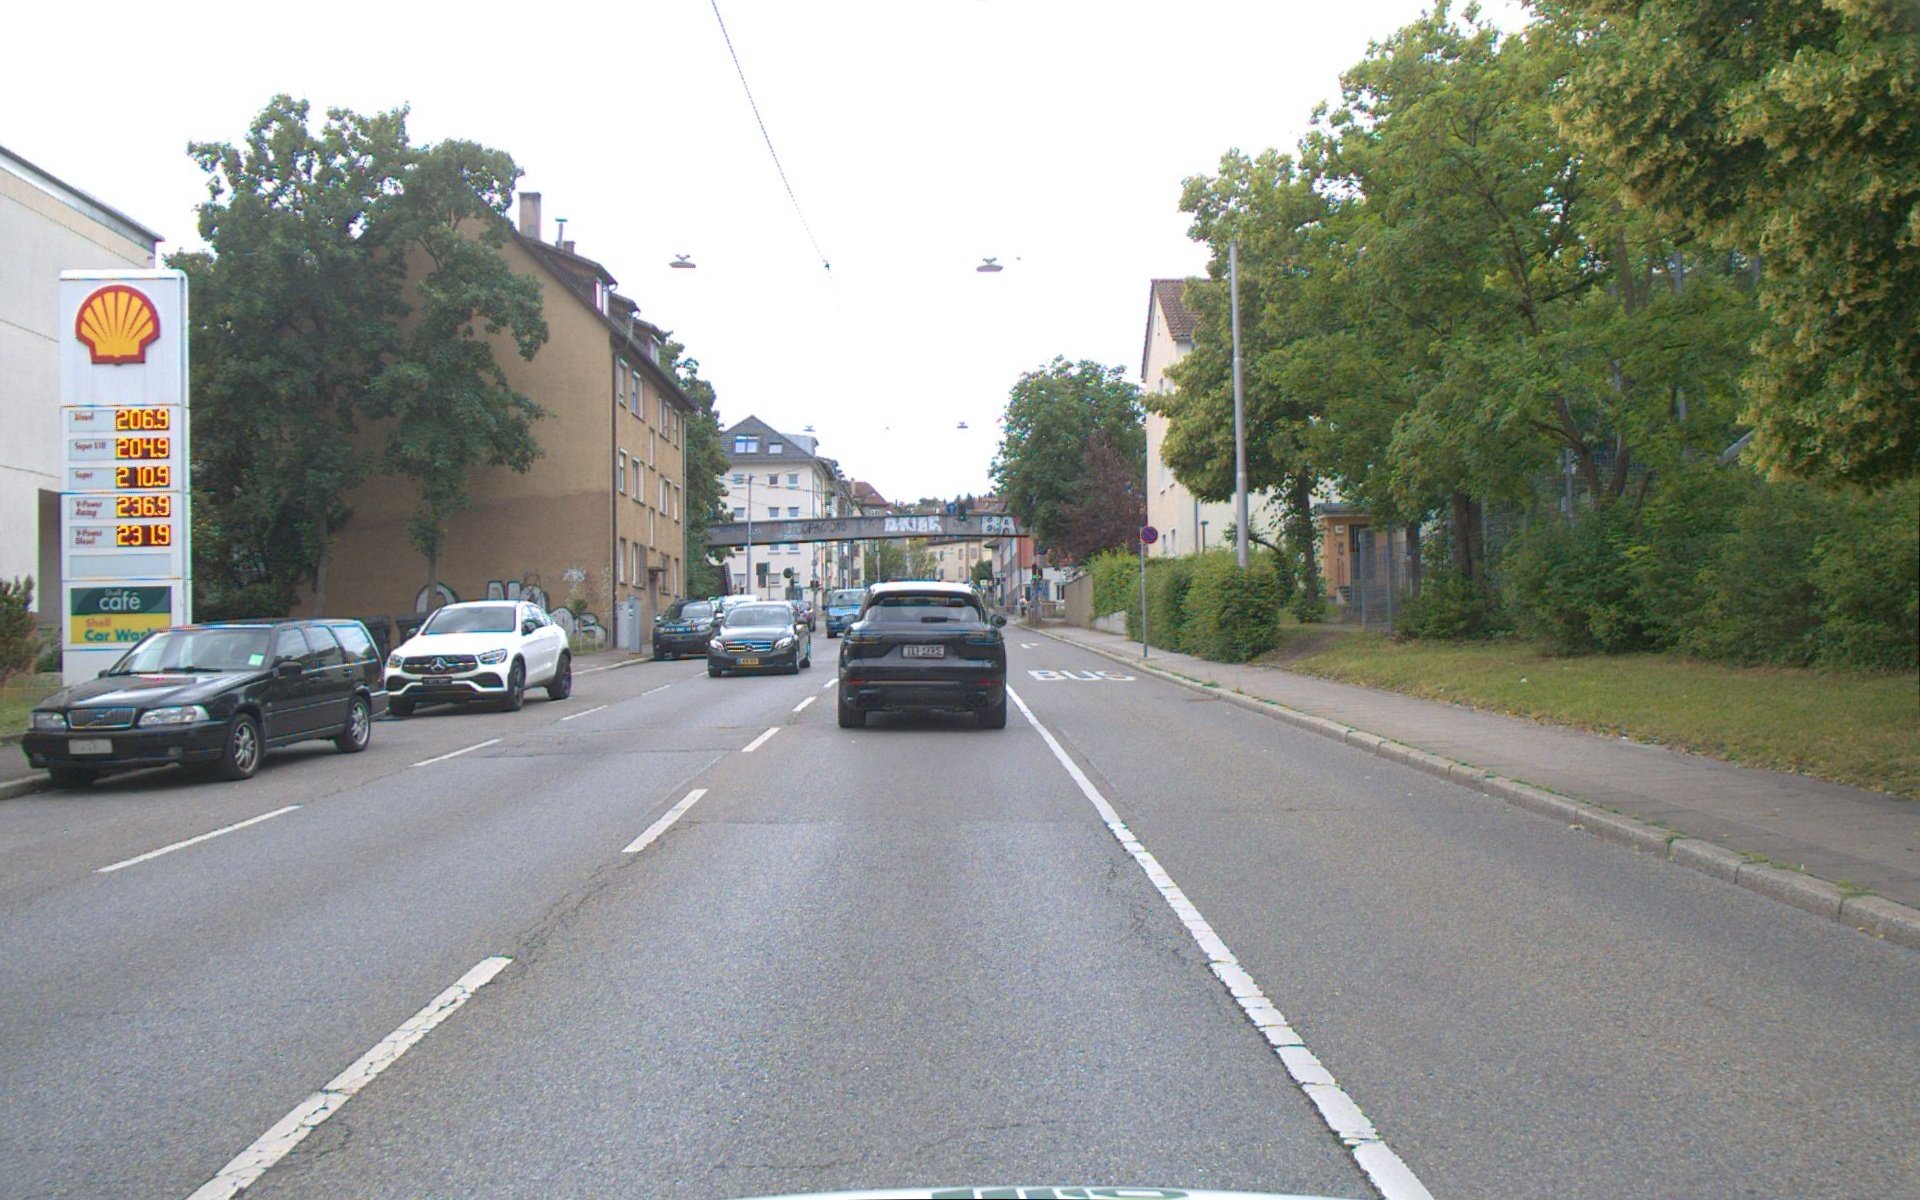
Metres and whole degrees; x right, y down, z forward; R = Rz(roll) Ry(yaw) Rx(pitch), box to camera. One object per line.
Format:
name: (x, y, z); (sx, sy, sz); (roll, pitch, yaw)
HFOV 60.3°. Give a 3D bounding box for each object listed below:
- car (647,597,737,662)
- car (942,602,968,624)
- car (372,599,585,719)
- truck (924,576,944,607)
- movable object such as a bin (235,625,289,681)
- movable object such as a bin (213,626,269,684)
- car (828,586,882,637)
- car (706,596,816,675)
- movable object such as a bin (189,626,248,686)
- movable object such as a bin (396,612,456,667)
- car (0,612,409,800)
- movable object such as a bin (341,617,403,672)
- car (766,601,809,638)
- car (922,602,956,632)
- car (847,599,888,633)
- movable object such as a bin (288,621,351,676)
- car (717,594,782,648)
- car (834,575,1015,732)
car: (-7.612, 0.802, 47.336); (1.746, 1.637, 4.264); (-3, 0, 0)
car: (-0.340, 0.855, 111.591); (1.706, 1.424, 4.000); (-1, 1, 0)
car: (-7.274, 0.824, 25.526); (1.876, 1.605, 4.699); (-2, 0, 0)
truck: (-3.097, -0.970, 194.365); (2.221, 3.484, 9.876); (-1, 0, -1)
movable object such as a bin: (-18.786, 1.417, 44.529); (0.892, 1.453, 1.396); (0, 0, -3)
movable object such as a bin: (-18.718, 1.411, 43.099); (0.892, 1.453, 1.396); (0, 0, -3)
car: (-4.153, 0.419, 66.198); (1.892, 1.934, 4.588); (-2, 0, -1)
car: (-4.113, 0.694, 34.849); (1.741, 1.492, 4.499); (-2, 0, 0)
movable object such as a bin: (-18.663, 1.405, 41.652); (0.892, 1.453, 1.396); (0, 0, -3)
movable object such as a bin: (-14.502, 1.070, 44.950); (1.365, 1.453, 0.912); (0, 0, -3)
car: (-7.218, 0.920, 16.417); (1.760, 1.456, 4.744); (-2, 0, 1)
movable object such as a bin: (-15.939, 1.198, 44.873); (1.365, 1.453, 0.912); (0, 0, -3)
car: (-8.048, 0.897, 77.543); (1.711, 1.596, 3.906); (-3, 0, -3)
car: (-1.090, 0.850, 85.372); (1.706, 1.424, 4.000); (-1, 1, 0)
car: (-4.601, 0.773, 82.877); (1.803, 1.618, 4.163); (-2, 0, -1)
movable object such as a bin: (-17.338, 1.303, 44.786); (1.365, 1.453, 0.912); (0, 0, -3)
car: (-7.522, 0.727, 59.462); (1.740, 1.784, 4.556); (-2, 0, -1)
car: (-0.401, 0.554, 20.064); (1.953, 1.691, 4.000); (-1, 1, -1)
